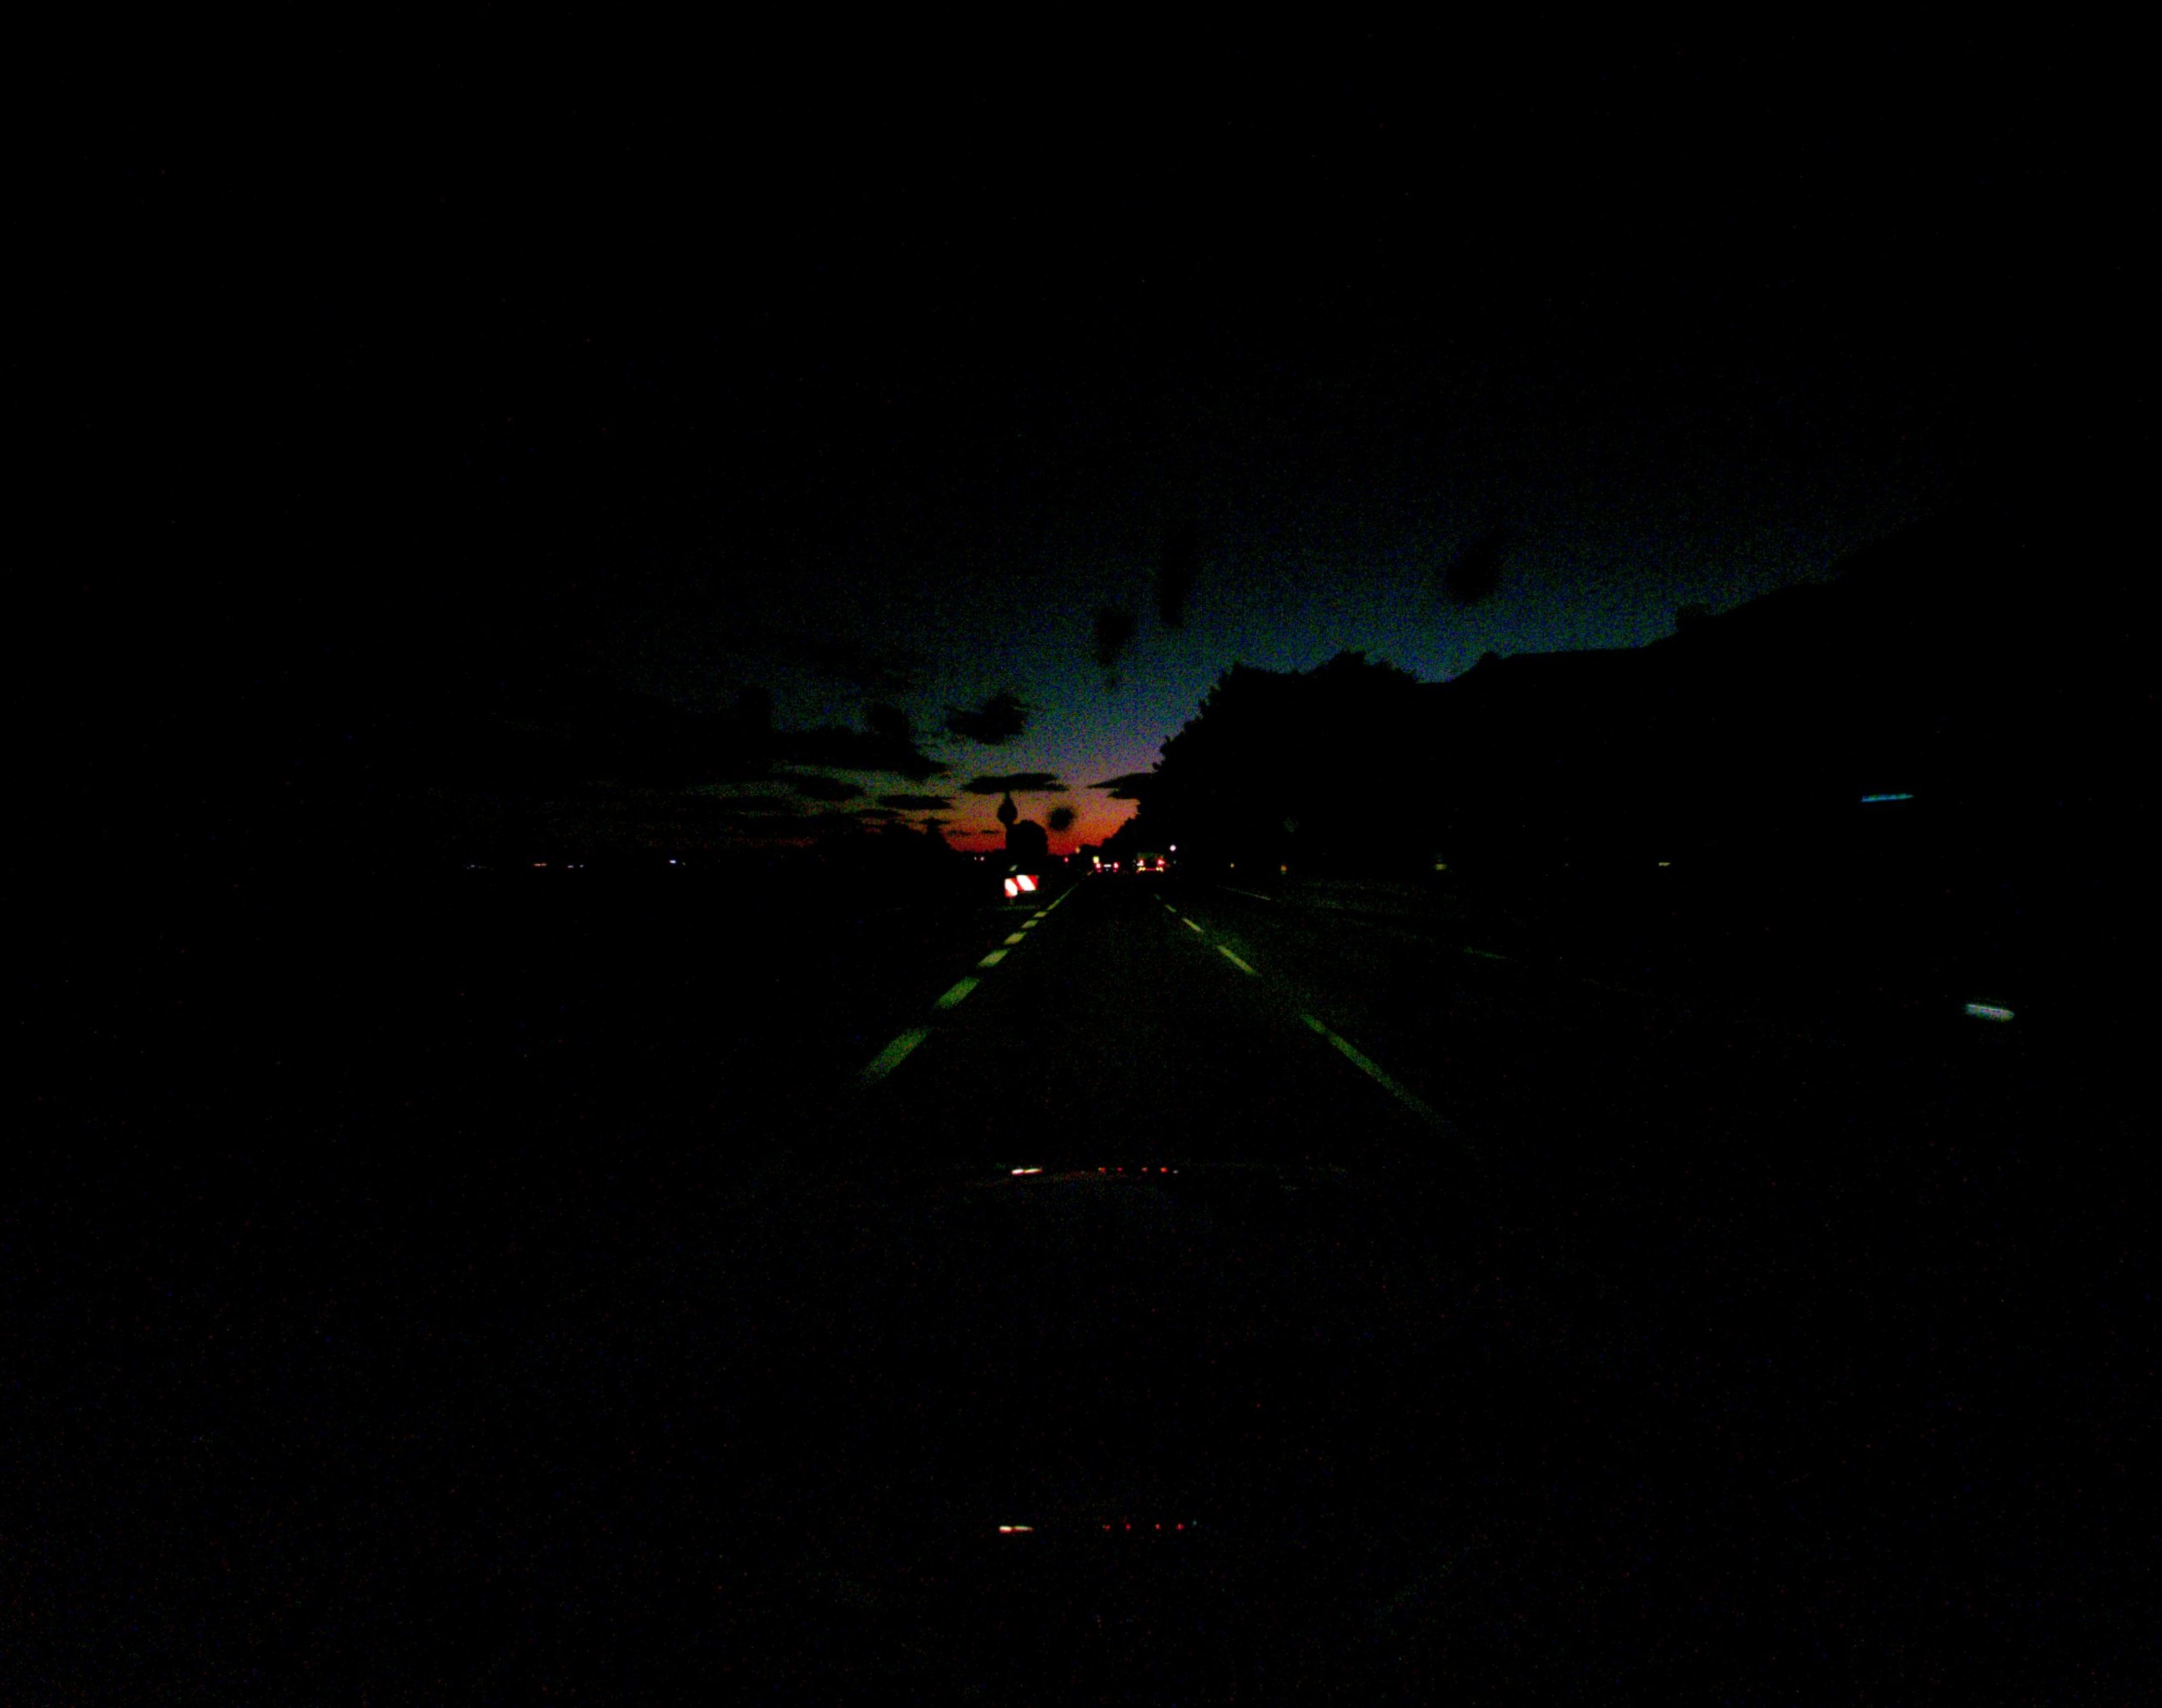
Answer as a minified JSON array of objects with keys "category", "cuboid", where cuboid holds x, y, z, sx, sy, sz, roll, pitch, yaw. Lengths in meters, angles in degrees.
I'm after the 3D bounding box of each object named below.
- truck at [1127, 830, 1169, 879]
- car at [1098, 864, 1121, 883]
[{"category":"truck","cuboid":[6.033,0.140,75.359,2.873,4.106,12.682,-1,-1,0]},{"category":"car","cuboid":[2.166,1.499,63.146,1.690,1.452,3.914,-1,-1,0]}]
